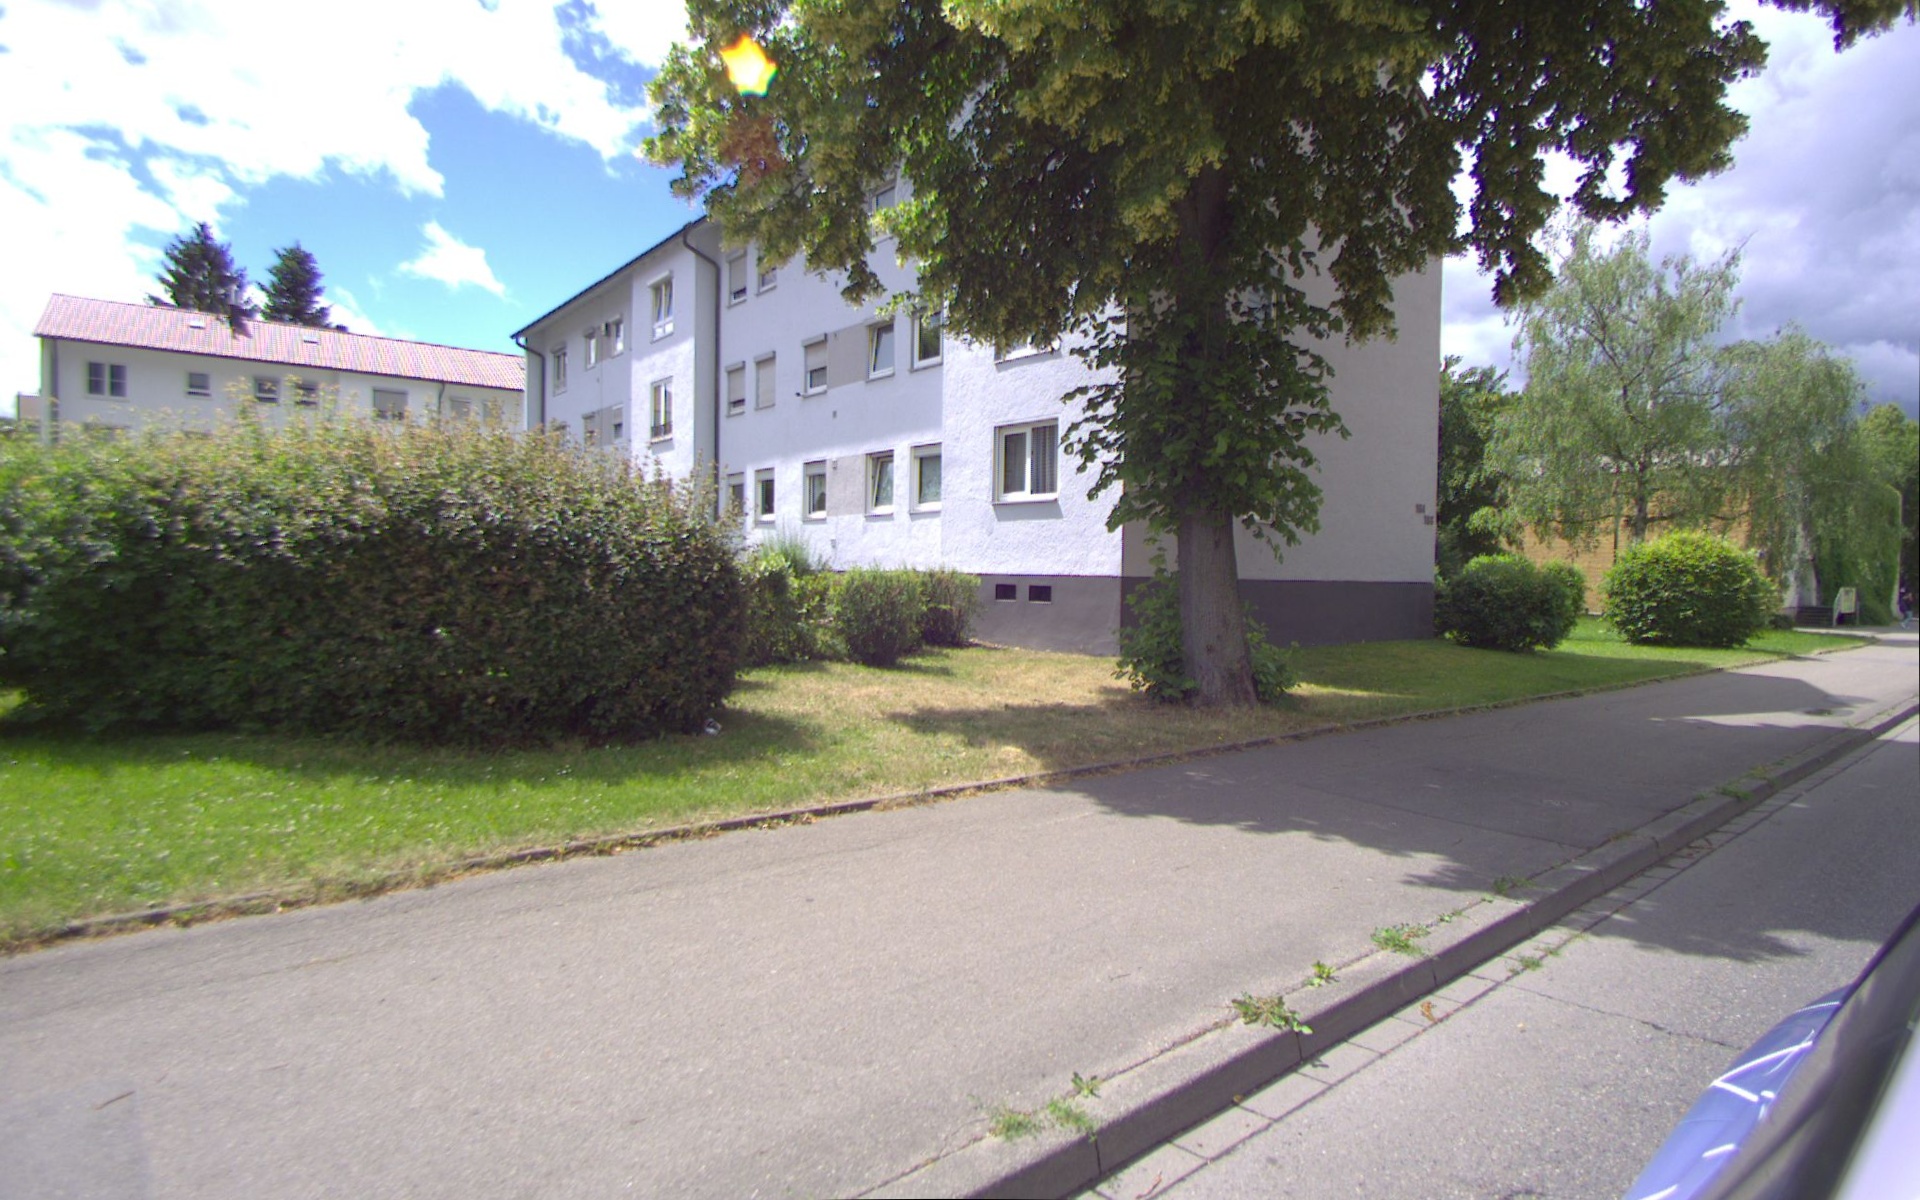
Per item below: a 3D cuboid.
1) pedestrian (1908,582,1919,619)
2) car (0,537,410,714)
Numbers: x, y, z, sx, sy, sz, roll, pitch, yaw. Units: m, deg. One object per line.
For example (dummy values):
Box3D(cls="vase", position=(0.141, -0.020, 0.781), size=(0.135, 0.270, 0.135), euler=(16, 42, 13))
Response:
Box3D(cls="pedestrian", position=(46.988, 0.043, 49.399), size=(0.801, 1.792, 0.812), euler=(0, 3, -36))
Box3D(cls="car", position=(-7.460, 0.197, 9.612), size=(3.677, 1.434, 1.678), euler=(0, 0, -41))
